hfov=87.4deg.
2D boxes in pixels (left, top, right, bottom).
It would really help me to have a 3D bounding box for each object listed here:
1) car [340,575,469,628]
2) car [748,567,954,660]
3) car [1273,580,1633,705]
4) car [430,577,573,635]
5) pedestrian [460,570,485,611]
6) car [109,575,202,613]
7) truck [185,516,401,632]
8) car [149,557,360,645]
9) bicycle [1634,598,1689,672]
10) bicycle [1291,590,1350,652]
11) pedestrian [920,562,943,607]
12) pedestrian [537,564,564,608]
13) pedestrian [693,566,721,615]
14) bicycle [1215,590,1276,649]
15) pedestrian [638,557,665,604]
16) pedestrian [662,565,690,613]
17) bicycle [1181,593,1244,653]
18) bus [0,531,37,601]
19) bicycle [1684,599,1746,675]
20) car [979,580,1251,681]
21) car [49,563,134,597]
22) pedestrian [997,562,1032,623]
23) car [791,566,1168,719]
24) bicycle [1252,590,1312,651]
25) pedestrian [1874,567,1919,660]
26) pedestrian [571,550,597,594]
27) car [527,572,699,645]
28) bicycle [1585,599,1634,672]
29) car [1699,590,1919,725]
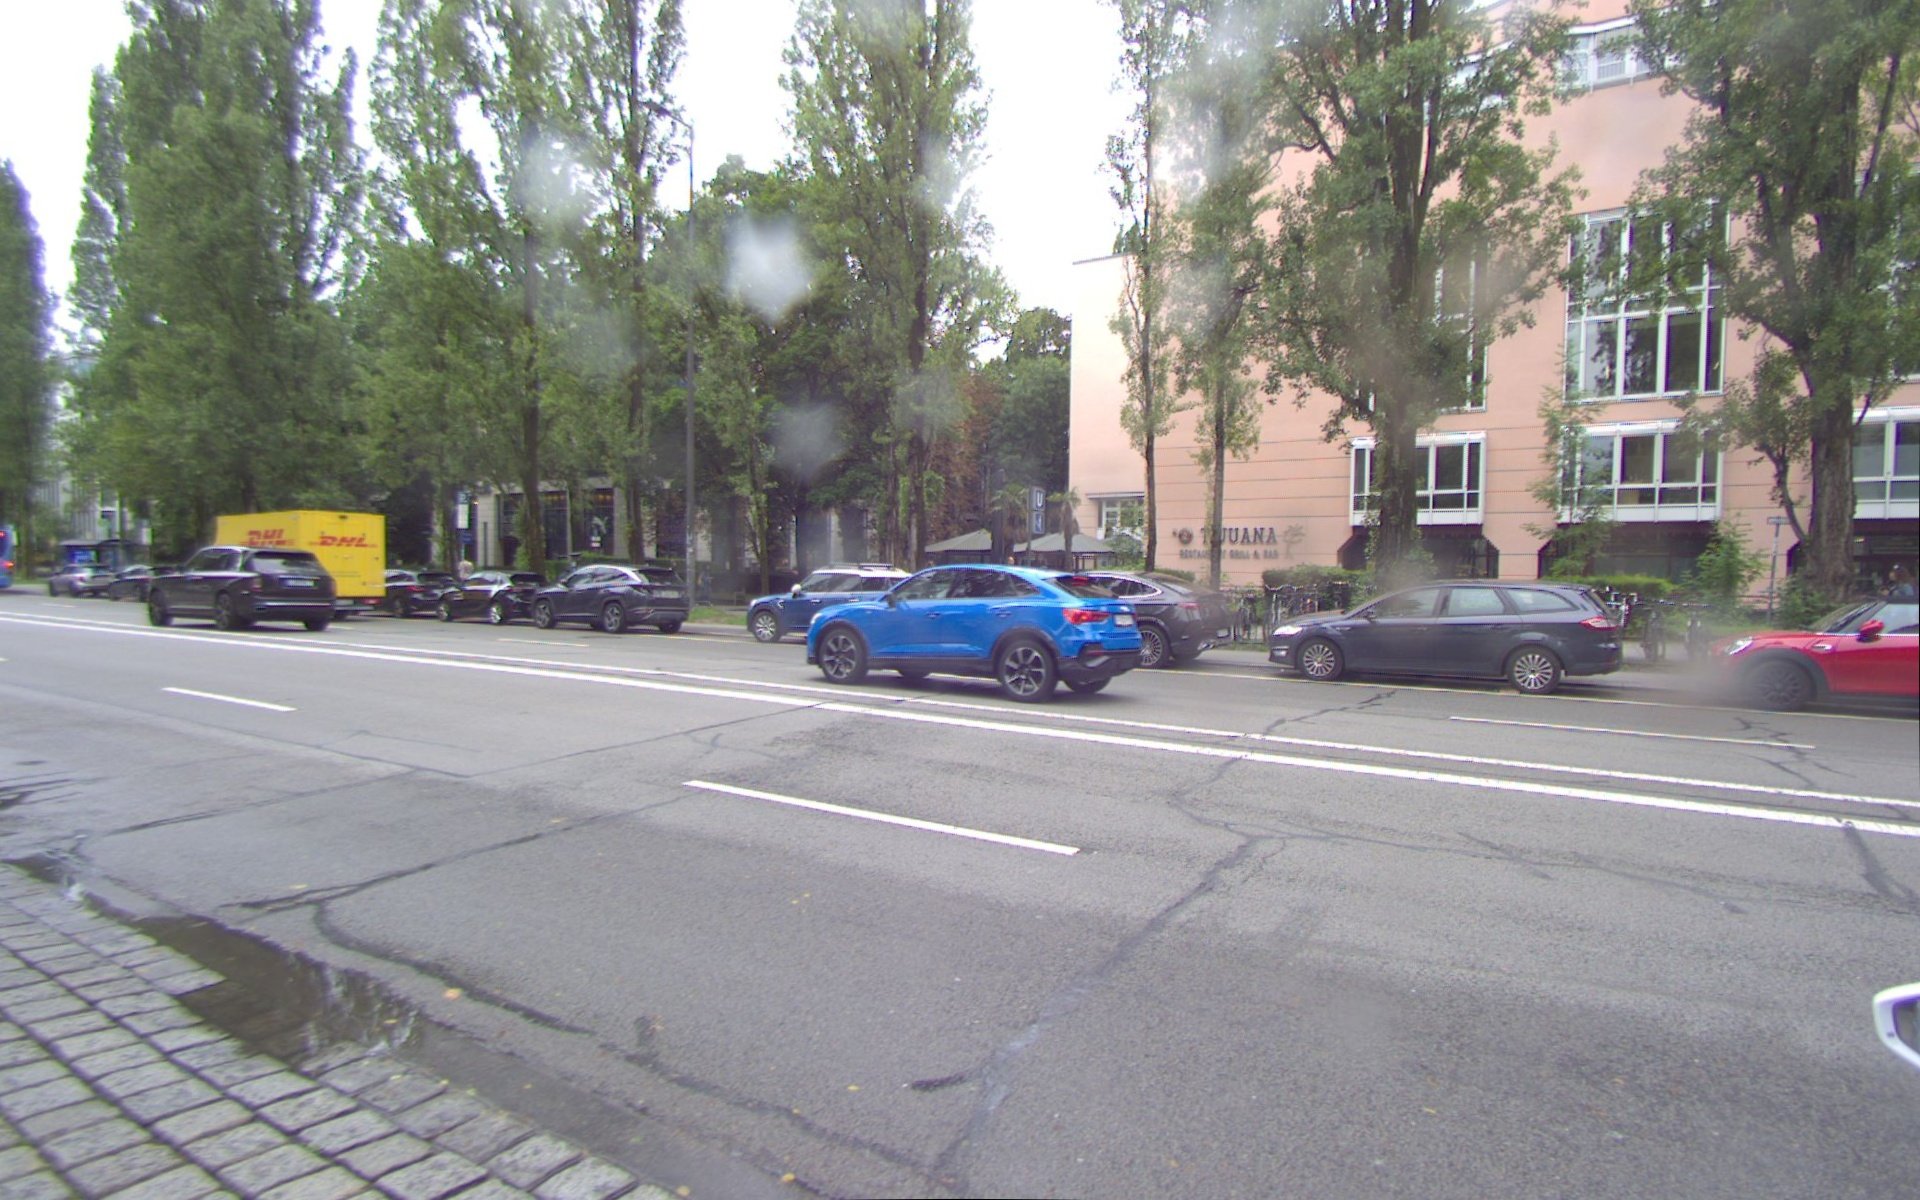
[{"bbox_3d":[-16.610,0.005,30.027,3.815,1.431,1.789,2,2,33],"label":"car"},{"bbox_3d":[-2.303,0.217,20.913,4.006,1.755,1.789,1,1,31],"label":"car"},{"bbox_3d":[7.175,0.509,14.881,4.544,1.549,1.788,1,2,33],"label":"car"},{"bbox_3d":[-12.520,0.105,27.392,3.815,1.431,1.789,2,2,33],"label":"car"},{"bbox_3d":[-20.863,-0.406,42.999,0.719,1.737,0.707,2,2,33],"label":"pedestrian"},{"bbox_3d":[-32.173,-0.268,40.150,3.815,1.431,1.789,2,2,33],"label":"car"},{"bbox_3d":[-19.009,-0.762,28.504,6.959,2.947,2.594,2,2,33],"label":"truck"},{"bbox_3d":[-15.746,-0.042,22.358,4.974,1.772,1.996,1,1,31],"label":"car"},{"bbox_3d":[11.809,0.556,16.950,0.664,1.139,1.737,1,2,33],"label":"bicycle"},{"bbox_3d":[7.151,0.385,19.860,0.664,1.139,1.983,1,2,32],"label":"bicycle"},{"bbox_3d":[-1.126,-0.603,39.583,0.874,1.737,0.737,1,2,-1],"label":"pedestrian"},{"bbox_3d":[-16.280,-0.569,39.908,0.719,1.737,0.707,2,2,33],"label":"pedestrian"},{"bbox_3d":[-9.186,-0.352,36.492,0.719,1.737,0.707,2,2,33],"label":"pedestrian"},{"bbox_3d":[5.911,0.373,20.722,0.664,1.139,1.983,1,2,32],"label":"bicycle"},{"bbox_3d":[-11.528,-0.722,37.537,0.719,1.737,0.707,2,2,33],"label":"pedestrian"},{"bbox_3d":[-10.450,-0.416,36.997,0.719,1.737,0.707,2,2,33],"label":"pedestrian"},{"bbox_3d":[5.319,0.453,21.079,0.664,1.139,1.983,1,2,32],"label":"bicycle"},{"bbox_3d":[-46.170,-1.579,46.805,8.377,3.093,2.917,1,2,35],"label":"bus"},{"bbox_3d":[12.414,0.582,16.551,0.664,1.139,1.724,1,2,33],"label":"bicycle"},{"bbox_3d":[2.685,0.444,17.849,4.437,1.549,1.788,1,2,33],"label":"car"},{"bbox_3d":[-38.080,-0.910,44.026,3.815,1.431,1.789,1,2,33],"label":"car"},{"bbox_3d":[1.570,-0.227,28.858,0.719,1.737,0.707,2,2,33],"label":"pedestrian"},{"bbox_3d":[0.184,0.418,12.535,4.344,1.600,1.868,2,1,31],"label":"car"},{"bbox_3d":[6.533,0.385,20.299,0.664,1.139,1.983,1,2,32],"label":"bicycle"},{"bbox_3d":[17.291,0.230,18.513,0.550,1.686,0.618,2,2,36],"label":"pedestrian"},{"bbox_3d":[-15.293,-1.136,40.853,0.719,1.737,0.707,2,2,33],"label":"pedestrian"},{"bbox_3d":[-8.493,0.151,24.527,4.164,1.622,1.789,1,2,33],"label":"car"},{"bbox_3d":[11.210,0.579,17.364,0.664,1.139,1.737,1,2,33],"label":"bicycle"},{"bbox_3d":[11.284,0.655,12.041,3.809,1.468,1.672,2,2,35],"label":"car"}]
